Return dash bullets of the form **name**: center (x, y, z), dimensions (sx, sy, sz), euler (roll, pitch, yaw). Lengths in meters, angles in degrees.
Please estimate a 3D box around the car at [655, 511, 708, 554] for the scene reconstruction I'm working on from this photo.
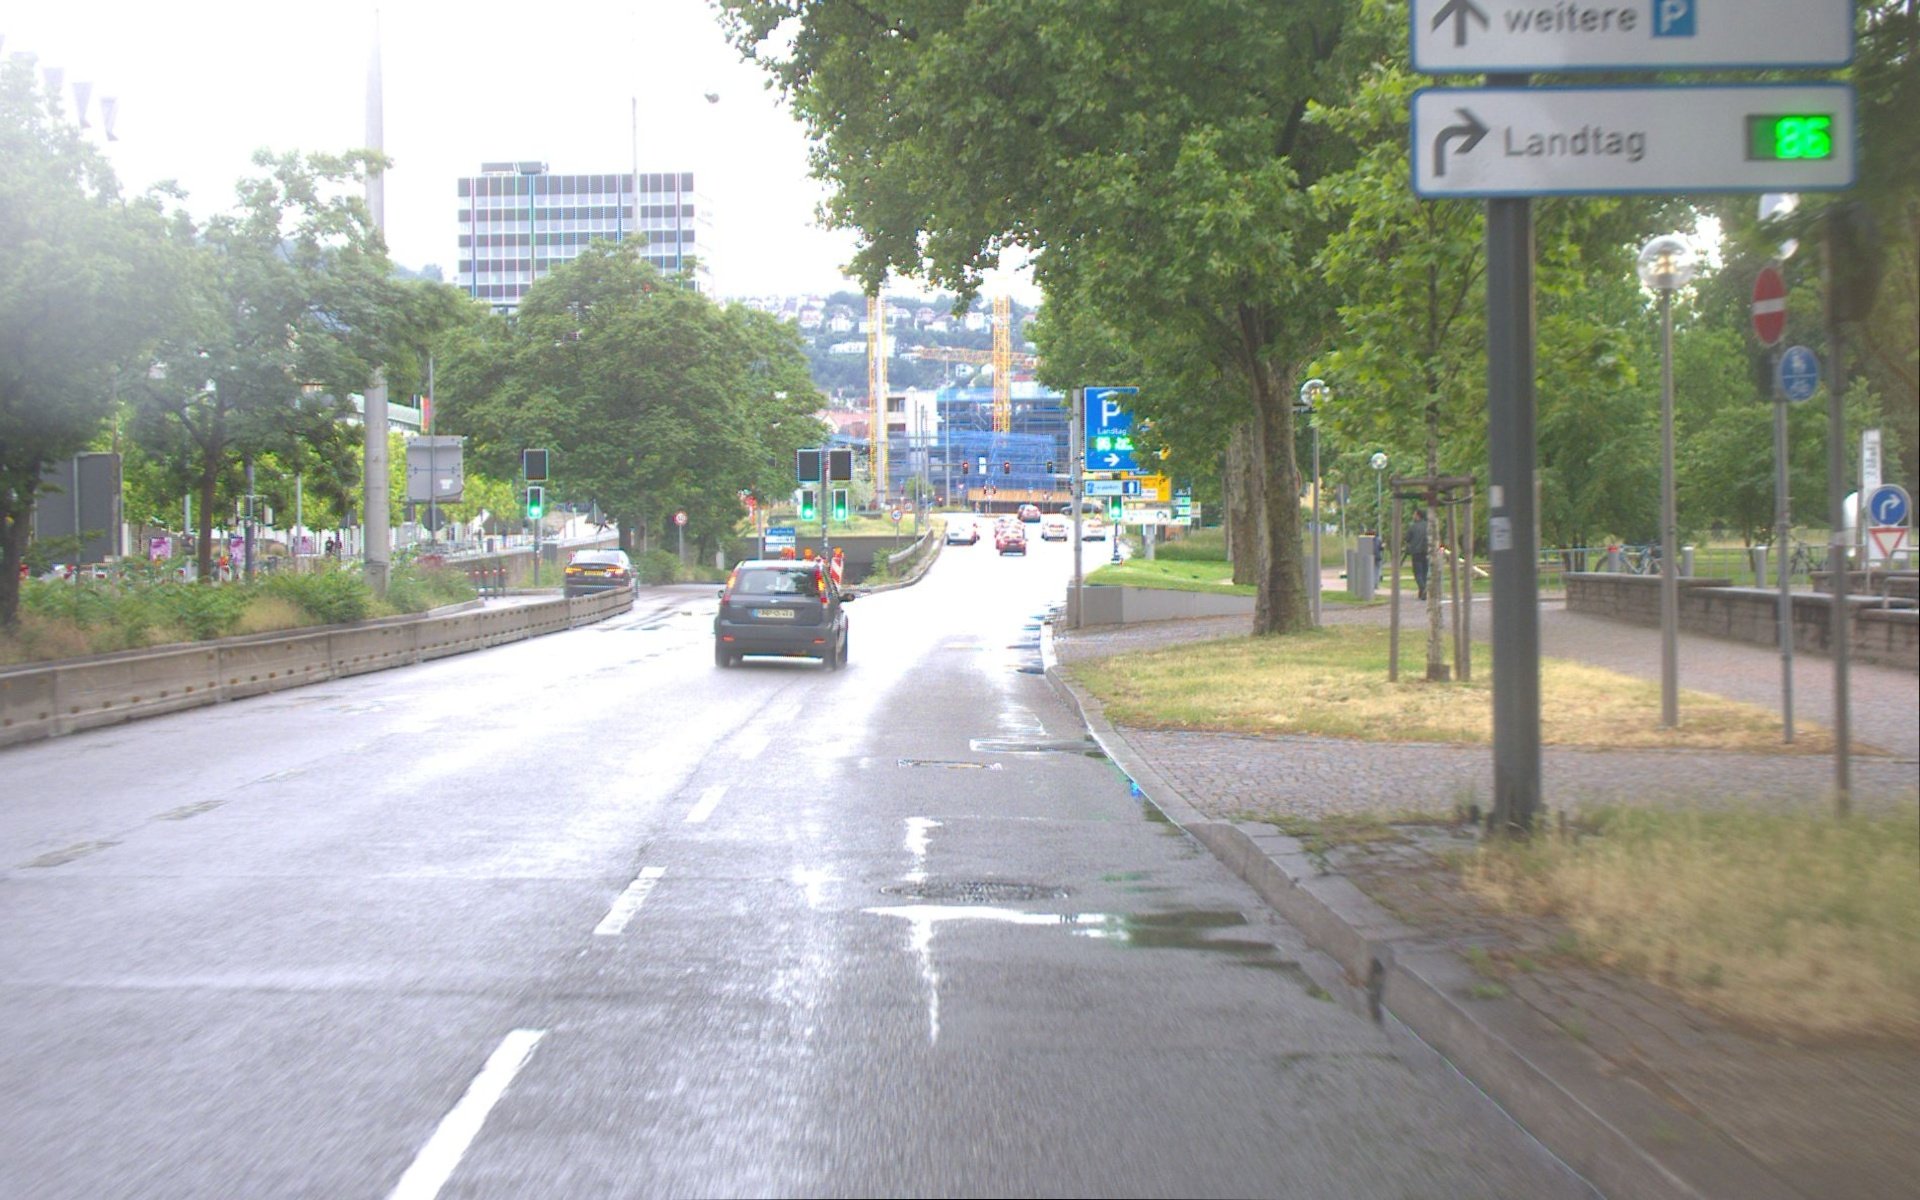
- **car**: center (-10.809, -2.616, 133.605), dimensions (1.993, 1.626, 4.001), euler (0, 1, -4)

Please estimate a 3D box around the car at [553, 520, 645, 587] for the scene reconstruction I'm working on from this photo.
- **car**: center (-9.980, -1.306, 95.330), dimensions (1.993, 1.774, 4.000), euler (-1, 1, 2)

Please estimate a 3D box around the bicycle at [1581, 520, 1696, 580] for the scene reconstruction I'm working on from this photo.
- **bicycle**: center (13.569, -1.008, 68.783), dimensions (2.034, 1.169, 0.960), euler (-1, 2, -9)

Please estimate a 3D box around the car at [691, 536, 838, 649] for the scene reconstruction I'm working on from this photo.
- **car**: center (-2.708, -0.103, 46.830), dimensions (1.843, 1.411, 3.840), euler (-2, 0, -5)

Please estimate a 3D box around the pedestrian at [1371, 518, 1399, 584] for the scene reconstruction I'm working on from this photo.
- **pedestrian**: center (11.417, -1.322, 92.427), dimensions (0.594, 1.749, 0.725), euler (-2, 2, -1)

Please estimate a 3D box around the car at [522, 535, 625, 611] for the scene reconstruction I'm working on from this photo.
- **car**: center (-7.717, -0.557, 68.930), dimensions (1.754, 1.446, 4.001), euler (-1, 1, -2)

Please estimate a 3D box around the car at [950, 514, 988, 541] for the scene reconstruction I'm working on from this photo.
- **car**: center (0.668, -5.435, 256.548), dimensions (2.221, 2.007, 3.998), euler (0, 1, 10)

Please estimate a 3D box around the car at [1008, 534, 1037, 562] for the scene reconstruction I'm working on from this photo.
- **car**: center (4.146, -3.421, 227.804), dimensions (1.739, 1.765, 4.000), euler (-2, 0, -1)

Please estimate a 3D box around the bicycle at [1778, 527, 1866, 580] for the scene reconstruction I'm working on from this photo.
- **bicycle**: center (18.138, -0.977, 72.332), dimensions (1.641, 1.082, 0.709), euler (-1, 2, -4)

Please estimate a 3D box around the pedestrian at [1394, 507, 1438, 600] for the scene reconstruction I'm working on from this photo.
- **pedestrian**: center (8.594, -0.882, 64.832), dimensions (0.705, 1.712, 0.692), euler (-2, 1, 1)

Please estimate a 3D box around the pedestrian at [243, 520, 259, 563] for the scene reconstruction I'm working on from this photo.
- **pedestrian**: center (-33.164, -2.718, 160.713), dimensions (0.539, 2.006, 0.531), euler (-2, 2, -34)
